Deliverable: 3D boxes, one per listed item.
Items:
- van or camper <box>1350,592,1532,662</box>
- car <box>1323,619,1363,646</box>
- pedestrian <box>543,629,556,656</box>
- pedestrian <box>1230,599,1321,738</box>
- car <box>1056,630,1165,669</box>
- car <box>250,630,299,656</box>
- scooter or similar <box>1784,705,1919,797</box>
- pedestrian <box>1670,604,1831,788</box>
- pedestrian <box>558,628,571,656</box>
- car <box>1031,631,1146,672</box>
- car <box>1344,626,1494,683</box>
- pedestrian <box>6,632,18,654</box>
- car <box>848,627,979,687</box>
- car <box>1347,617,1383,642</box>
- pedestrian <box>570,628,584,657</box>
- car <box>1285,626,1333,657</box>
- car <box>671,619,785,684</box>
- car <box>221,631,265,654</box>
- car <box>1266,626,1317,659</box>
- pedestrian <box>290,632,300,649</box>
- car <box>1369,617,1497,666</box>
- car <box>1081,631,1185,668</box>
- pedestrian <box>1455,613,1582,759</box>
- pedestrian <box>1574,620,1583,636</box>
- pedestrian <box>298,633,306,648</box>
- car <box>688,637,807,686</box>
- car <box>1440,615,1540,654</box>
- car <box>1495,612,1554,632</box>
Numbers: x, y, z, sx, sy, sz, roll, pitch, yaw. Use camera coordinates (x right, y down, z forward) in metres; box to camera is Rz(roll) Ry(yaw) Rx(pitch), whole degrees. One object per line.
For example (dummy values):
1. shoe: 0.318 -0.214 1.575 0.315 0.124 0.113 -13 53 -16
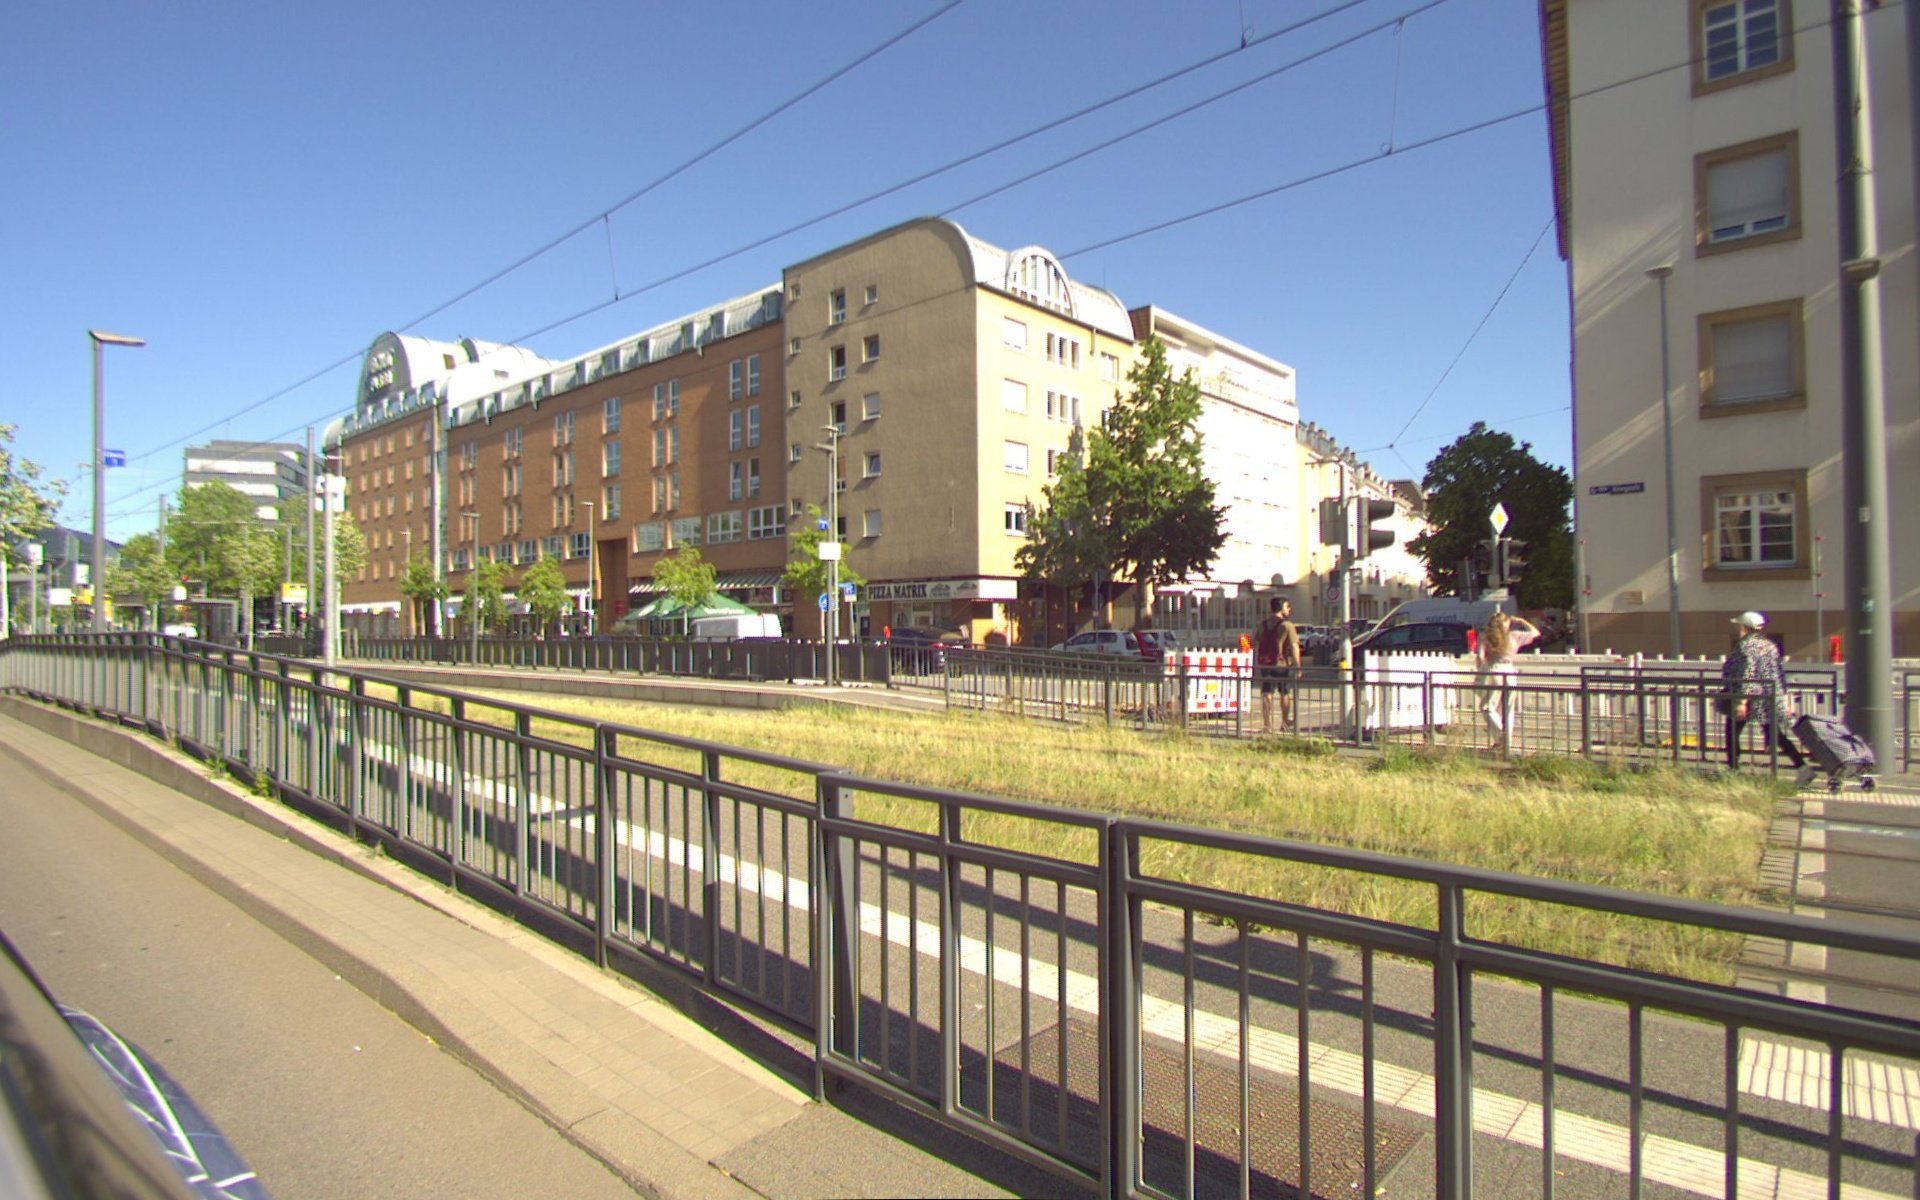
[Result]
1. van or camper: 17.810 1.026 37.572 5.933 2.419 1.979 -1 -2 30
2. car: 24.699 2.066 65.231 1.947 1.674 3.962 -2 -2 28
3. pedestrian: -28.293 2.903 69.783 0.644 1.854 0.614 -2 -3 39
4. pedestrian: 4.277 0.897 13.702 0.908 1.794 0.857 -2 -1 37
5. car: 6.020 1.958 40.476 3.980 1.462 1.768 -1 -2 28
6. car: -49.966 3.115 73.764 3.998 1.696 1.973 -1 0 41
7. scooter or similar: 7.566 1.263 8.591 0.507 0.656 0.711 -1 -1 -21
8. pedestrian: 7.119 0.826 9.140 0.784 1.548 0.818 -1 -1 -21
9. pedestrian: -26.971 2.866 69.042 0.644 1.854 0.614 -2 -3 39
10. car: 4.893 1.941 38.572 3.980 1.462 1.768 -1 -2 28
11. car: 13.024 1.521 28.760 3.661 1.533 1.673 -2 -2 32
12. pedestrian: -71.593 3.240 76.412 0.600 1.581 0.910 0 -2 -39
13. car: -1.515 1.752 32.017 3.997 1.773 1.796 -2 -2 40
14. car: 28.190 2.077 70.415 1.947 1.674 3.962 -2 -2 28
15. pedestrian: -24.980 2.749 66.022 0.644 1.854 0.614 -2 -3 41
16. car: 19.902 2.325 57.637 1.947 1.674 3.962 -2 -2 28
17. car: -9.305 2.010 40.215 1.969 2.388 5.653 0 -2 -41
18. car: -57.601 3.390 81.296 3.998 1.696 1.973 -1 0 41
19. car: 17.606 2.219 53.679 1.947 1.674 3.962 -2 -2 28
20. pedestrian: -68.991 4.178 104.964 0.706 1.769 0.780 1 -2 -44
21. car: 15.630 1.376 33.498 3.654 1.533 1.673 -2 -2 32
22. car: 7.256 2.077 42.515 3.980 1.462 1.768 -1 -2 28
23. pedestrian: 6.242 0.934 11.364 0.897 1.548 0.867 -1 -1 1
24. pedestrian: 65.720 2.973 107.543 0.687 1.768 0.807 -2 -2 34
25. pedestrian: -73.355 4.491 112.825 0.637 1.622 0.728 1 -3 -45
26. car: -6.355 1.809 30.136 3.651 1.387 1.557 -2 -5 41
27. car: 25.229 1.628 48.207 3.990 1.789 1.722 -2 -2 35
28. car: 44.217 1.748 79.357 3.853 1.472 1.740 -1 -2 24
